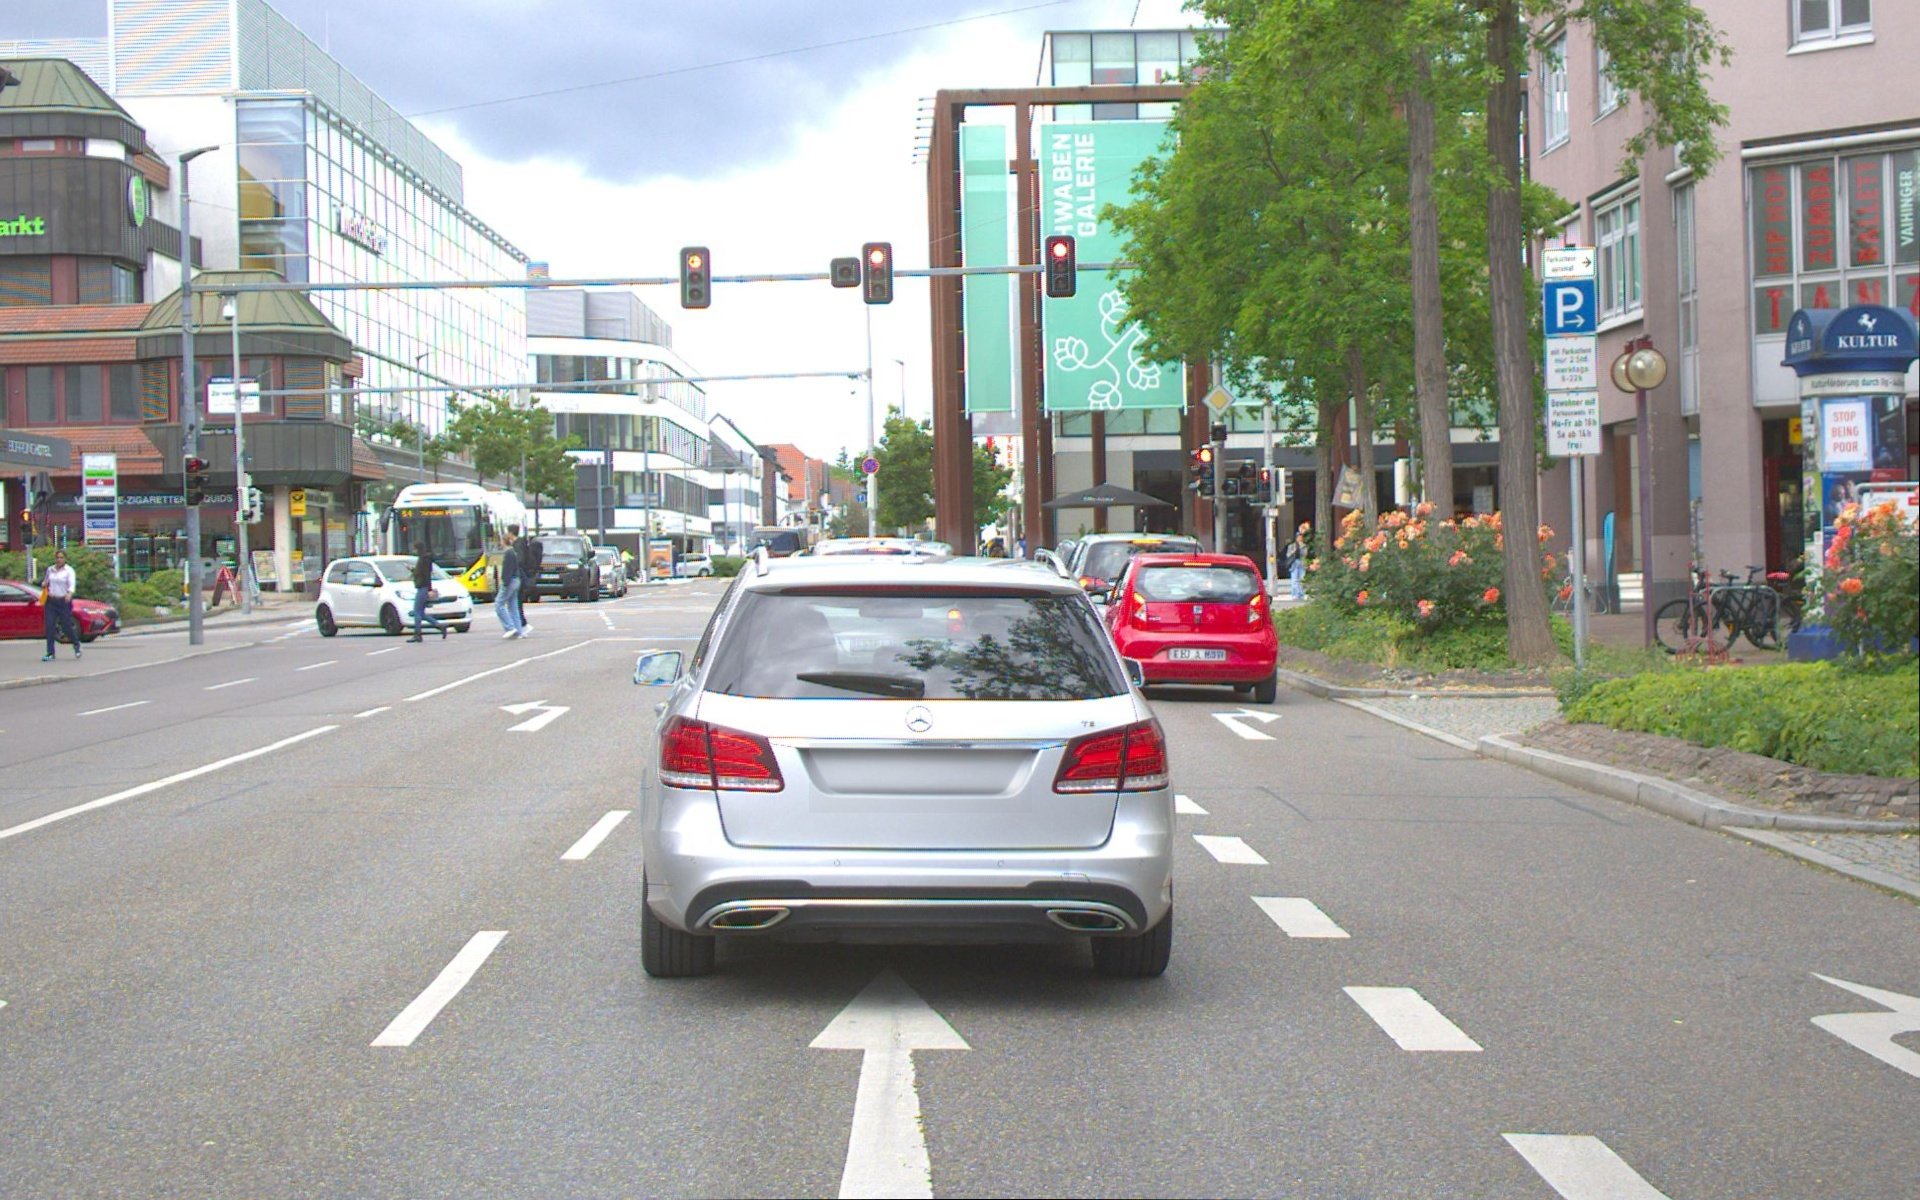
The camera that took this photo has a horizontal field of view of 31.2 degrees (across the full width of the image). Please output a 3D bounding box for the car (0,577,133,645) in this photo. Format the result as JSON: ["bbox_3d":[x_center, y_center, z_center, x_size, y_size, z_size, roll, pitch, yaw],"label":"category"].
[{"bbox_3d":[-20.262,0.239,73.364,4.715,1.365,1.964,-1,1,1],"label":"car"}]

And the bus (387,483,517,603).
[{"bbox_3d":[-14.404,-1.638,98.025,2.686,3.250,8.654,-1,1,-2],"label":"bus"}]

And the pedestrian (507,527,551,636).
[{"bbox_3d":[-7.104,-0.310,56.644,0.644,1.769,0.570,-1,1,-12],"label":"pedestrian"}]

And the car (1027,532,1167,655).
[{"bbox_3d":[1.840,-0.119,47.114,1.586,1.589,3.868,1,1,-2],"label":"car"}]

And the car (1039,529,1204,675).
[{"bbox_3d":[1.878,-0.010,40.947,1.586,1.628,3.917,1,1,-2],"label":"car"}]

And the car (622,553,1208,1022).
[{"bbox_3d":[-0.245,0.564,12.983,1.815,1.443,4.370,1,1,-3],"label":"car"}]

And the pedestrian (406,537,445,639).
[{"bbox_3d":[-8.778,-0.199,56.417,0.557,1.645,0.654,-1,1,-12],"label":"pedestrian"}]

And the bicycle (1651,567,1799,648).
[{"bbox_3d":[9.643,0.092,43.352,1.769,0.994,0.447,-1,1,4],"label":"bicycle"}]

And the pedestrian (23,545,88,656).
[{"bbox_3d":[-13.236,-0.003,50.329,0.728,1.604,0.753,-1,1,-1],"label":"pedestrian"}]

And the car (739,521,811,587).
[{"bbox_3d":[-5.619,-1.405,104.659,1.993,1.942,4.951,-1,1,-1],"label":"car"}]

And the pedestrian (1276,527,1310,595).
[{"bbox_3d":[8.085,-0.953,83.516,0.651,1.645,0.559,-1,1,-15],"label":"pedestrian"}]

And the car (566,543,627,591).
[{"bbox_3d":[-10.855,-1.009,102.835,1.555,1.387,3.288,-1,1,-2],"label":"car"}]

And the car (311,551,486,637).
[{"bbox_3d":[-10.326,-0.109,63.100,1.574,1.483,3.462,-3,1,-40],"label":"car"}]

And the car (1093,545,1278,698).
[{"bbox_3d":[2.239,0.182,34.817,1.586,1.438,3.348,1,1,-1],"label":"car"}]

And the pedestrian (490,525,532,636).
[{"bbox_3d":[-7.298,-0.326,55.910,0.646,1.784,0.684,-1,1,-8],"label":"pedestrian"}]

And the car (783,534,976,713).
[{"bbox_3d":[-0.721,0.172,31.137,1.640,1.522,3.394,0,1,-1],"label":"car"}]

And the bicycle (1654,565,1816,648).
[{"bbox_3d":[9.642,0.081,42.805,1.901,0.994,0.468,-1,1,4],"label":"bicycle"}]

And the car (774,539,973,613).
[{"bbox_3d":[-1.832,-0.528,73.453,4.187,1.525,1.790,-1,1,0],"label":"car"}]

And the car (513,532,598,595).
[{"bbox_3d":[-11.185,-1.022,95.205,1.993,1.700,4.065,-1,1,-2],"label":"car"}]
